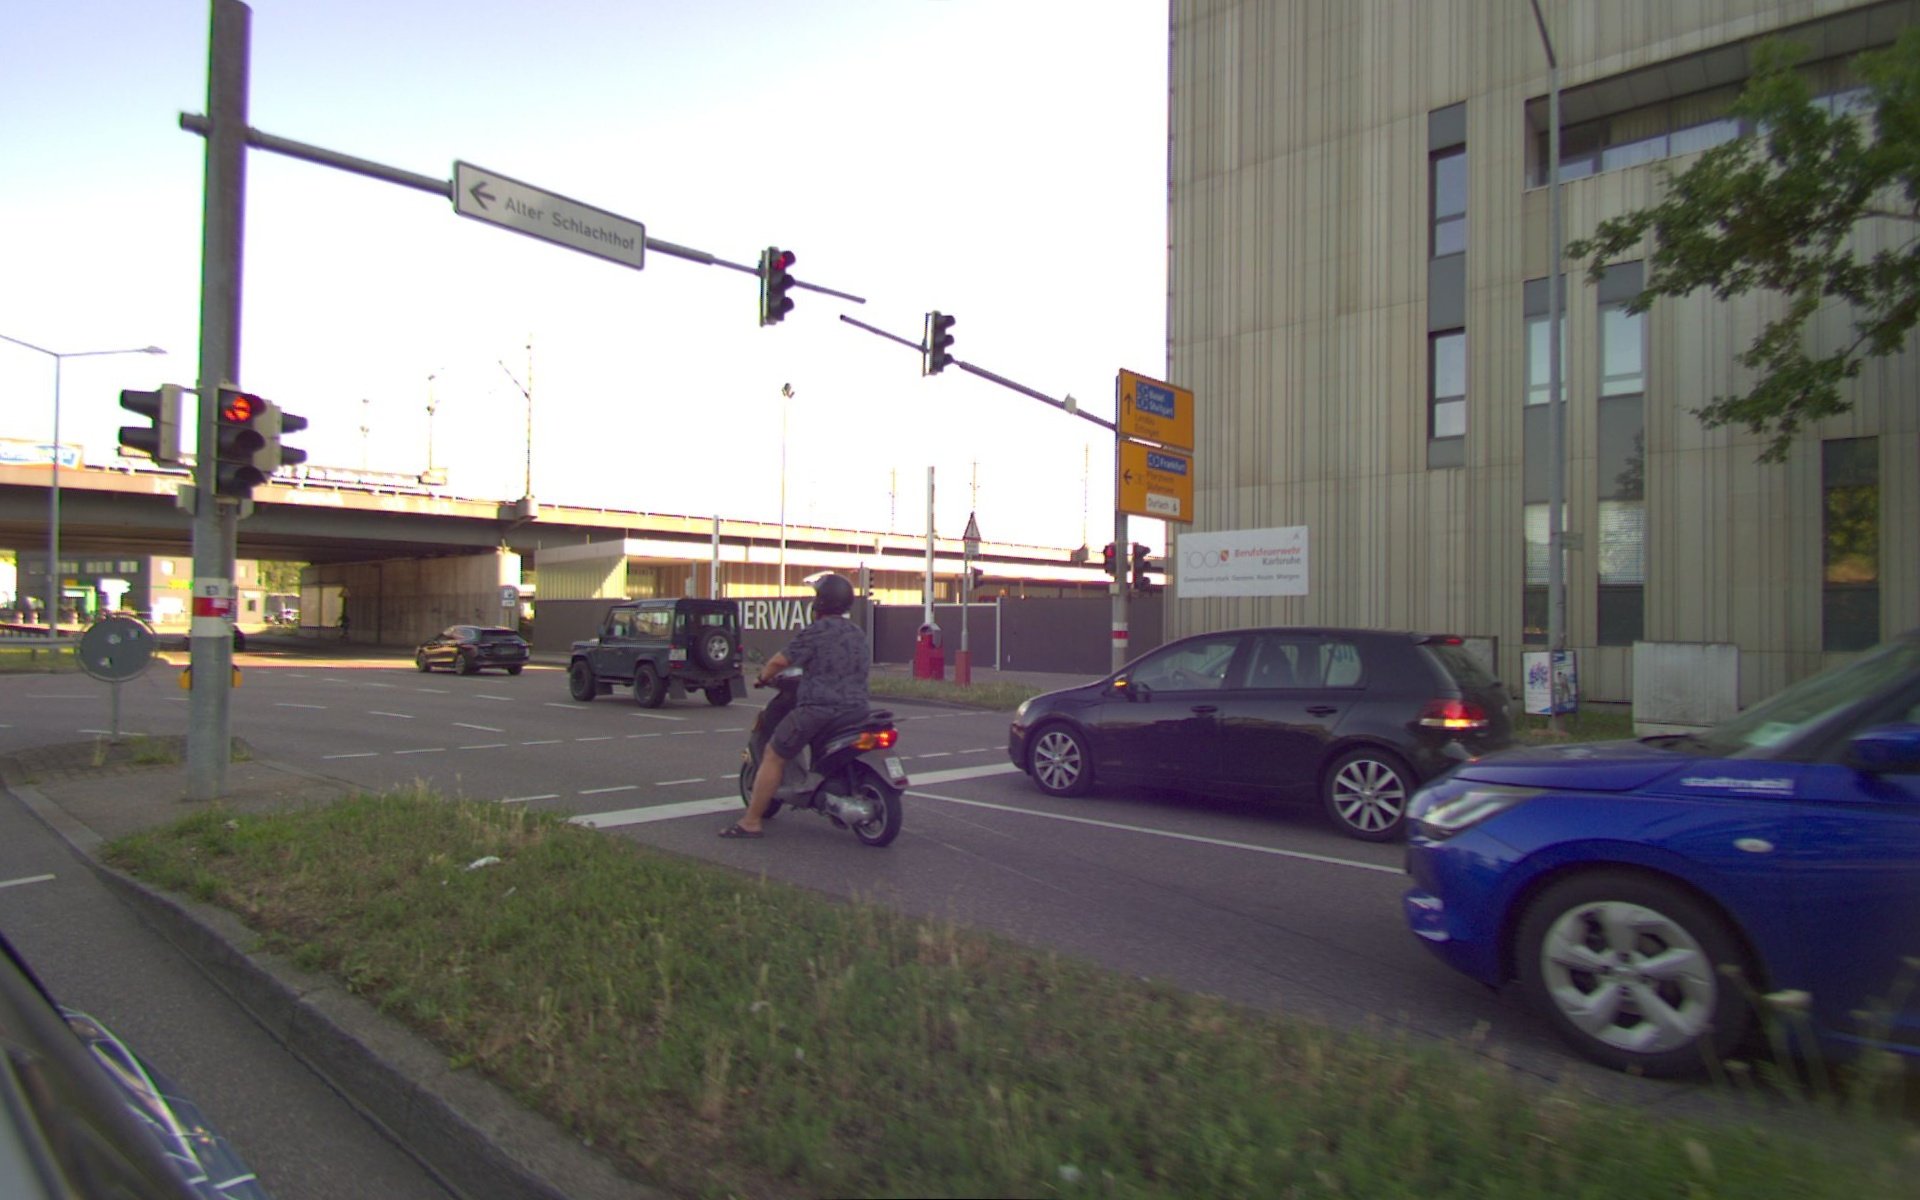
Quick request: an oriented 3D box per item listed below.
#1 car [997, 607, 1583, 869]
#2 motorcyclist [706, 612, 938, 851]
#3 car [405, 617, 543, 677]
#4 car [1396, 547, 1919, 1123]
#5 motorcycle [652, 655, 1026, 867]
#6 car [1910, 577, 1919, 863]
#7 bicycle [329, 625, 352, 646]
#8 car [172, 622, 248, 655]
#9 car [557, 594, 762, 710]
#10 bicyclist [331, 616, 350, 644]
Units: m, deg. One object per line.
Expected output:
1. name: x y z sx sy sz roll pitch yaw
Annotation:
1. car: 2.501 0.844 8.157 4.077 1.486 1.974 0 1 40
2. motorcyclist: -0.880 0.785 6.470 1.271 1.360 0.790 -2 -4 34
3. car: -15.022 1.435 31.187 4.711 1.604 1.973 0 -4 40
4. car: 3.495 0.663 2.824 3.854 1.463 1.685 0 -4 40
5. motorcycle: -0.826 0.918 6.435 2.395 1.084 0.833 -1 -4 34
6. car: 6.923 0.649 3.830 4.711 1.604 1.973 0 -4 40
7. bicycle: -35.498 2.055 57.980 0.697 1.165 2.082 -1 -1 -45
8. car: -37.339 1.915 50.347 4.345 1.411 1.973 0 -4 40
9. car: -5.800 1.011 19.373 3.990 1.994 1.776 -2 -5 40
10. bicyclist: -35.506 1.716 57.971 0.716 1.575 0.940 0 1 -45
